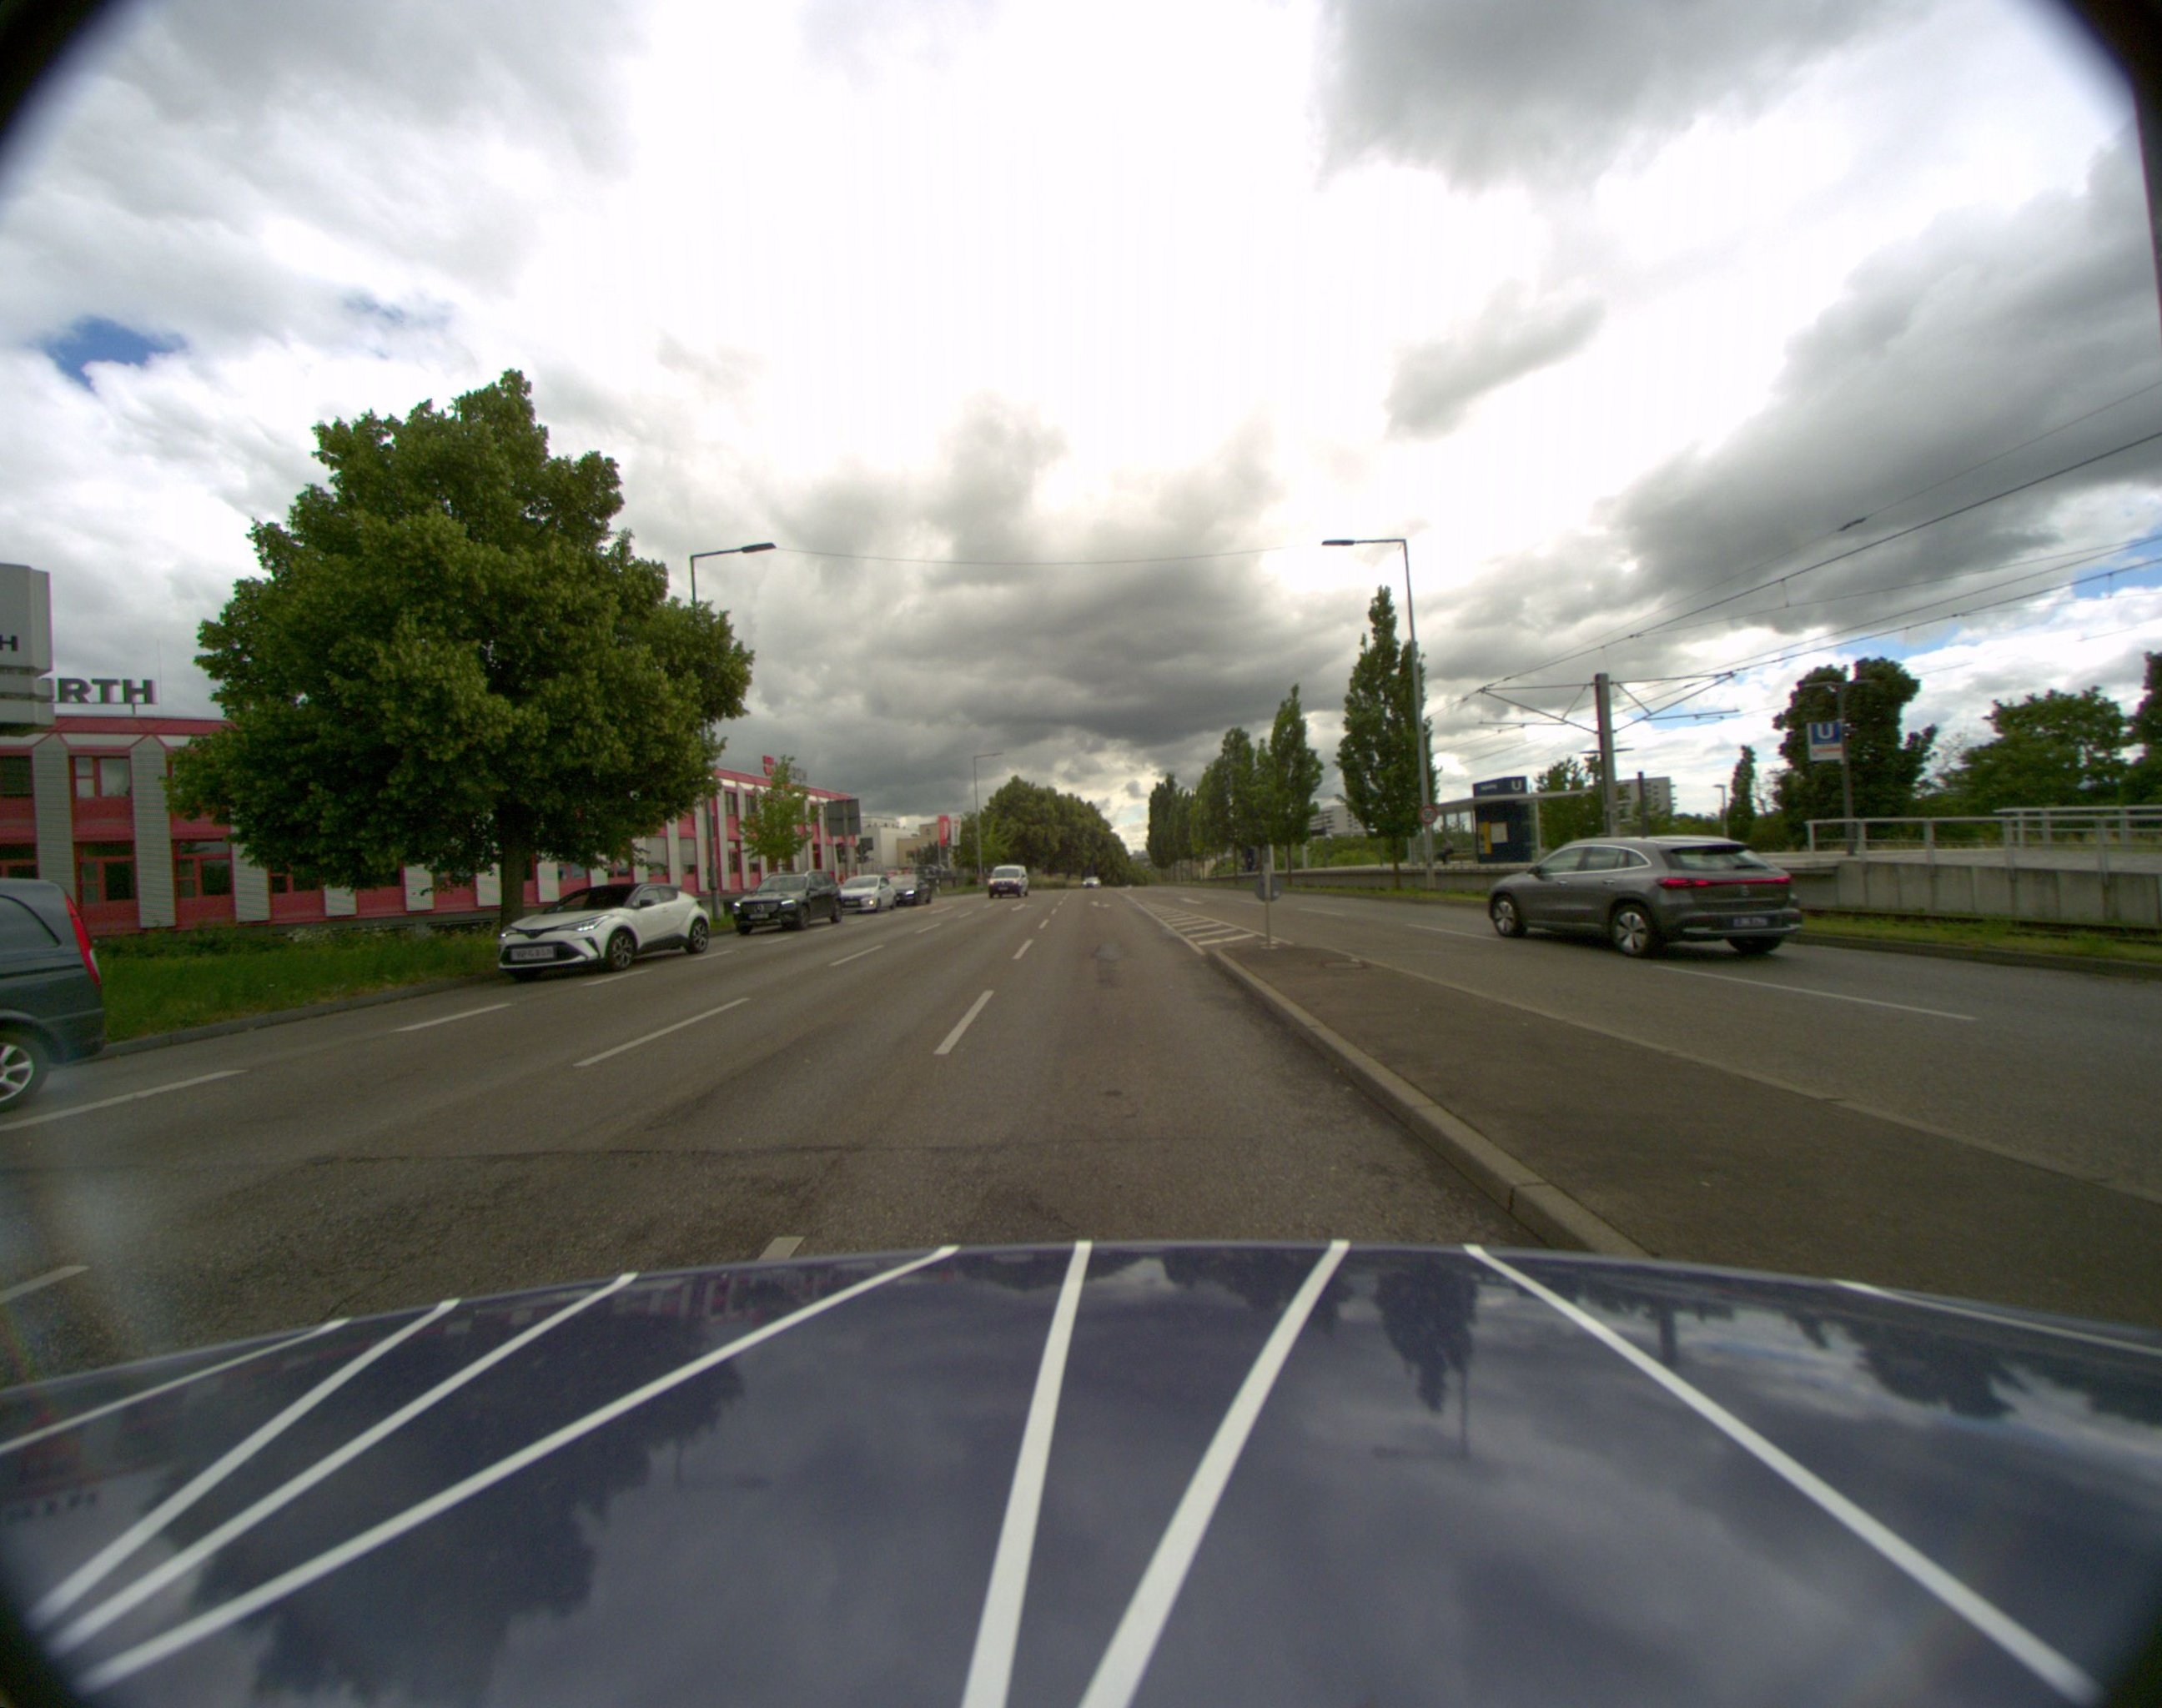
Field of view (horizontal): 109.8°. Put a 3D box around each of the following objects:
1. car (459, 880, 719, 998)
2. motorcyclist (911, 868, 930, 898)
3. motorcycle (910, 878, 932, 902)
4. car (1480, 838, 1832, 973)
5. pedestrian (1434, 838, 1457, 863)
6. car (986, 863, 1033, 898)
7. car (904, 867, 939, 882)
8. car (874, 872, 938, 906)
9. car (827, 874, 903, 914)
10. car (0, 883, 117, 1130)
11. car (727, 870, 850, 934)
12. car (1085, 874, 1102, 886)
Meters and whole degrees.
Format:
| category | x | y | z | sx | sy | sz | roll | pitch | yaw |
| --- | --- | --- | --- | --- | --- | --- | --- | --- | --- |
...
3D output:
| category | x | y | z | sx | sy | sz | roll | pitch | yaw |
| --- | --- | --- | --- | --- | --- | --- | --- | --- | --- |
| car | -8.584 | 1.374 | 13.824 | 1.785 | 1.526 | 4.305 | -5 | 0 | 0 |
| motorcyclist | -8.346 | 1.513 | 39.596 | 0.750 | 1.481 | 0.933 | -4 | -1 | -3 |
| motorcycle | -8.318 | 1.859 | 39.507 | 0.750 | 1.140 | 1.943 | -4 | -1 | -3 |
| car | 7.990 | 0.619 | 11.185 | 1.783 | 1.537 | 4.223 | -2 | 0 | -4 |
| pedestrian | 17.625 | -0.176 | 36.727 | 0.663 | 1.195 | 0.782 | -2 | 0 | -7 |
| car | -3.960 | 1.426 | 42.901 | 1.999 | 1.791 | 4.840 | -2 | 0 | 2 |
| car | -21.208 | 2.683 | 101.001 | 4.248 | 1.744 | 1.784 | -2 | 0 | 2 |
| car | -8.016 | 1.588 | 35.201 | 1.785 | 1.437 | 4.530 | -1 | -2 | 1 |
| car | -8.469 | 1.552 | 30.101 | 1.785 | 1.434 | 3.836 | -1 | -2 | 1 |
| car | -9.305 | 1.251 | 4.068 | 1.920 | 1.823 | 4.723 | -5 | 0 | 6 |
| car | -8.371 | 1.324 | 22.209 | 1.785 | 1.639 | 4.427 | -1 | -2 | 1 |
| car | 1.500 | 3.169 | 92.059 | 1.784 | 1.353 | 4.483 | -2 | -3 | 4 |
